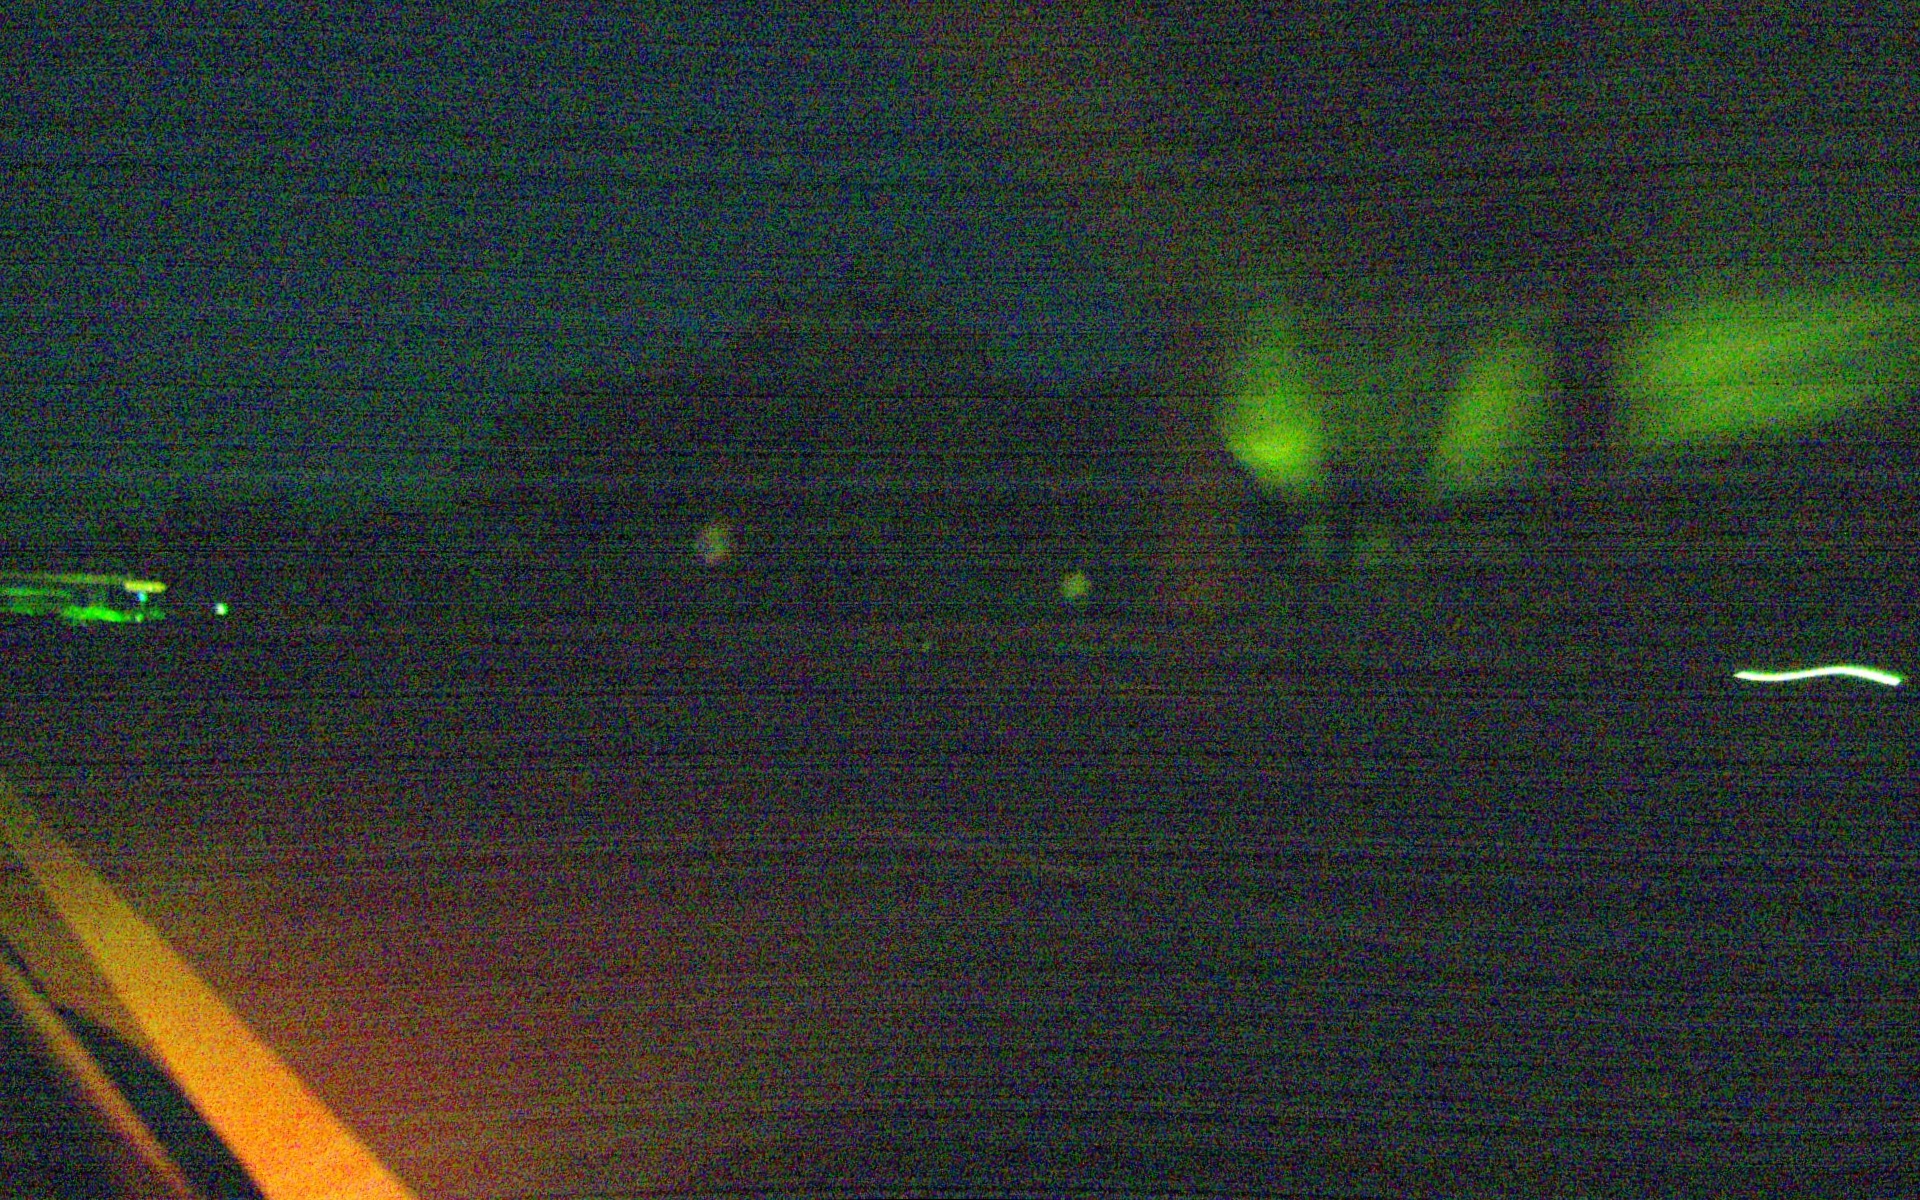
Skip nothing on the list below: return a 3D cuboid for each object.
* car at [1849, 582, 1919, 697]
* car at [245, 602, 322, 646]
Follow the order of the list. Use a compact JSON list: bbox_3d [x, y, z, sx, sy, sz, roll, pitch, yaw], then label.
[{"bbox_3d":[14.259,0.498,13.174,3.998,1.519,1.806,-1,0,41],"label":"car"},{"bbox_3d":[-32.757,1.126,48.971,4.607,2.029,1.973,-1,0,41],"label":"car"}]
